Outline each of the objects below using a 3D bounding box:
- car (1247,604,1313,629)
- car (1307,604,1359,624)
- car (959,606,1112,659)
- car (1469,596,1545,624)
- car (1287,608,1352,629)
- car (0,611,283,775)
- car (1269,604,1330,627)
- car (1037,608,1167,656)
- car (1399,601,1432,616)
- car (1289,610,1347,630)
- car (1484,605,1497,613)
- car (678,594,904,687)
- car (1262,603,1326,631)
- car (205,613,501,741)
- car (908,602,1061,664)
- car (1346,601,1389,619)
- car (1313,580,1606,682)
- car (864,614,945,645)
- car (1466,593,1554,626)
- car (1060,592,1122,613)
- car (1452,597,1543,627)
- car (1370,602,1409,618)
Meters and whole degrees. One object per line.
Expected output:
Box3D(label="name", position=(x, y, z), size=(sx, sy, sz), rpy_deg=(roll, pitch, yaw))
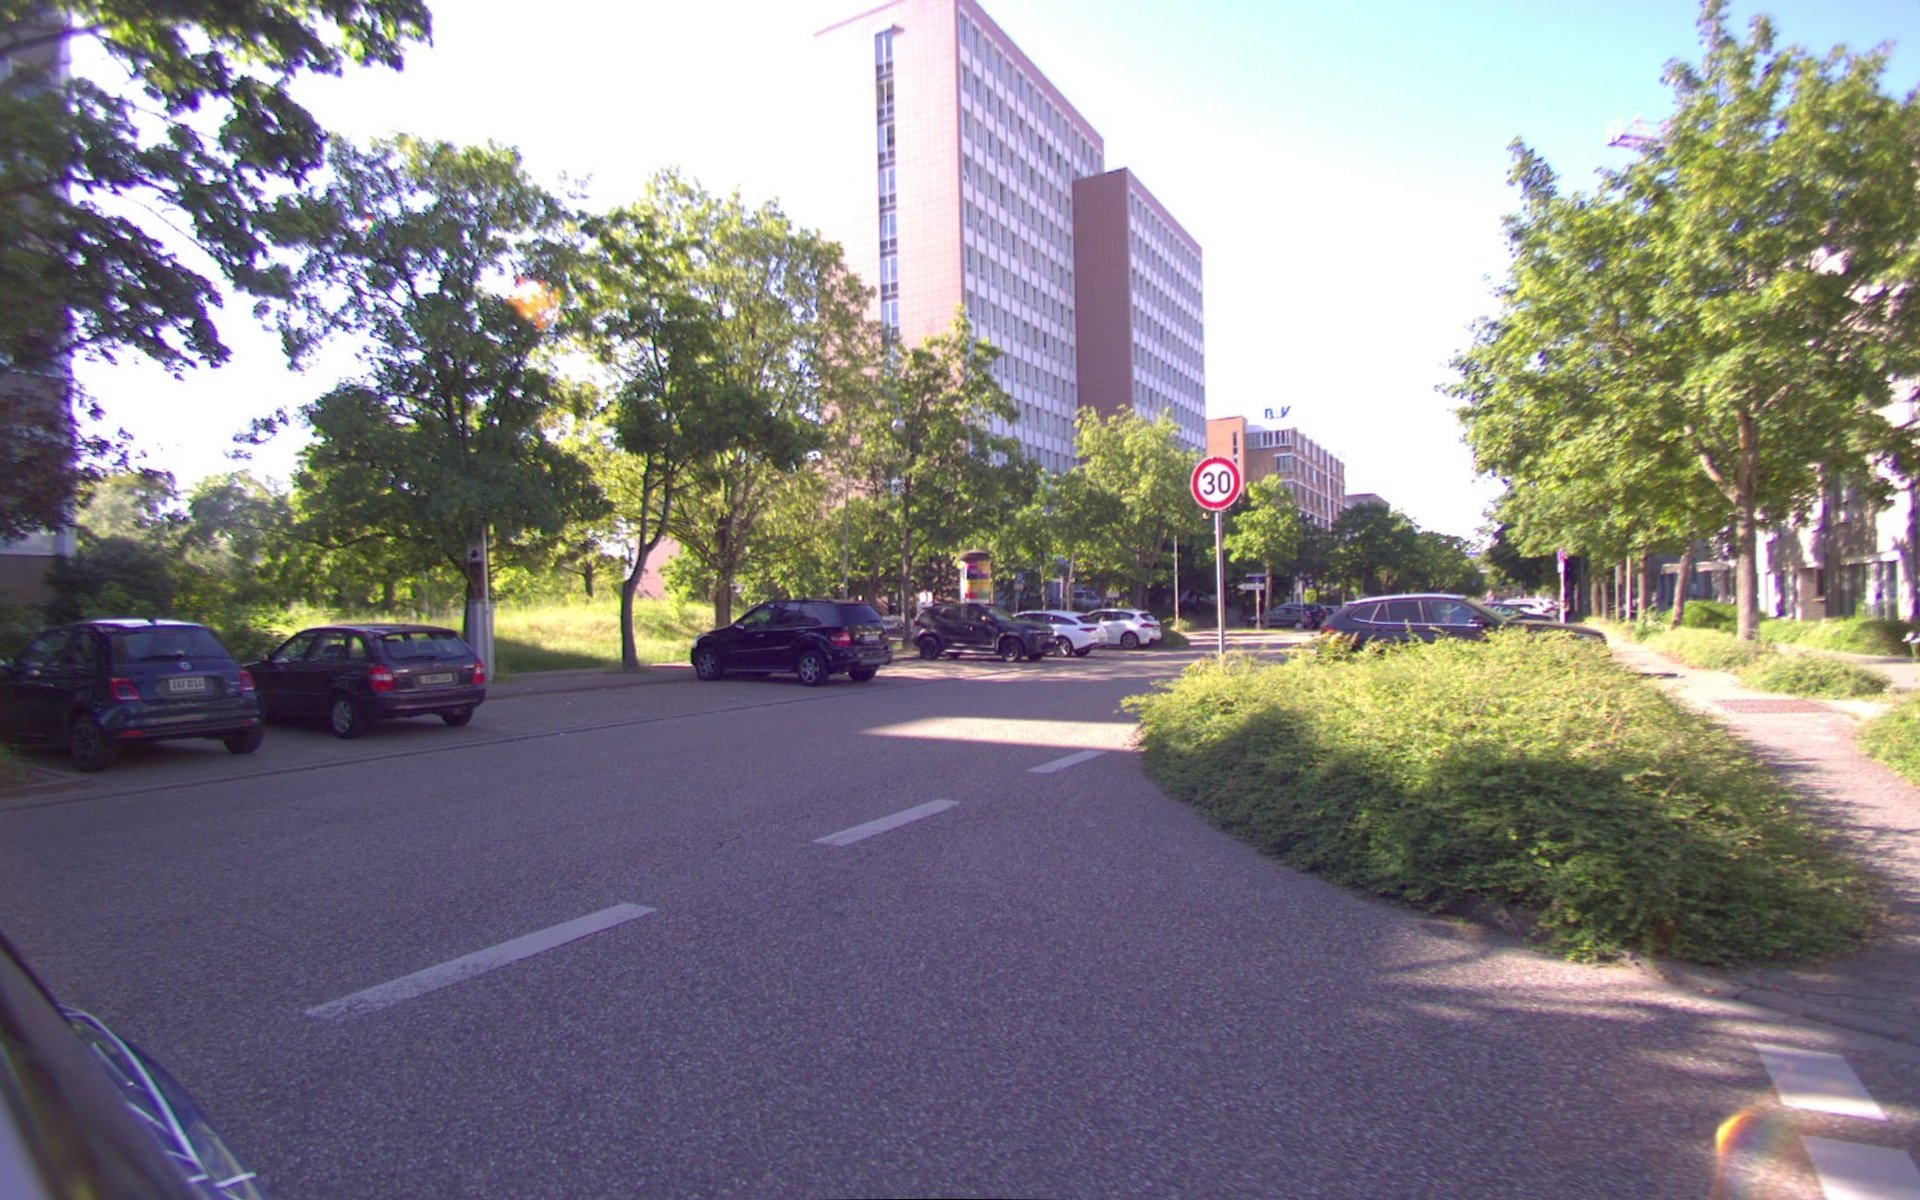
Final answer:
Box3D(label="car", position=(20.393, 1.029, 64.533), size=(3.829, 1.457, 1.577), rpy_deg=(2, -1, 28))
Box3D(label="car", position=(29.321, 1.060, 79.552), size=(3.569, 1.518, 1.707), rpy_deg=(0, 0, 29))
Box3D(label="car", position=(2.352, 1.029, 31.799), size=(4.435, 1.557, 1.800), rpy_deg=(-2, -1, 28))
Box3D(label="car", position=(34.993, 0.655, 64.746), size=(4.112, 1.632, 1.784), rpy_deg=(-3, -2, 32))
Box3D(label="car", position=(27.374, 1.416, 77.081), size=(4.416, 1.565, 1.841), rpy_deg=(-1, -1, 29))
Box3D(label="car", position=(-9.619, 0.922, 11.432), size=(3.802, 1.510, 1.685), rpy_deg=(1, 0, 28))
Box3D(label="car", position=(23.553, 1.052, 70.253), size=(3.862, 1.577, 1.794), rpy_deg=(0, 0, 26))
Box3D(label="car", position=(5.201, 1.120, 37.218), size=(4.420, 1.605, 1.819), rpy_deg=(1, 0, 28))
Box3D(label="car", position=(61.147, 1.148, 135.886), size=(3.978, 1.797, 1.936), rpy_deg=(-3, -1, 26))
Box3D(label="car", position=(26.224, 1.456, 74.152), size=(3.673, 1.431, 1.705), rpy_deg=(0, 0, 33))
Box3D(label="car", position=(103.525, 1.771, 197.380), size=(1.947, 1.639, 3.956), rpy_deg=(-1, -1, 33))
Box3D(label="car", position=(-3.638, 0.773, 21.584), size=(4.585, 1.792, 1.979), rpy_deg=(0, 0, 31))
Box3D(label="car", position=(21.973, 1.095, 66.590), size=(3.673, 1.764, 1.705), rpy_deg=(0, 0, 33))
Box3D(label="car", position=(-8.339, 0.943, 13.844), size=(3.985, 1.397, 1.803), rpy_deg=(1, 1, 31))
Box3D(label="car", position=(0.689, 0.907, 29.200), size=(4.113, 1.630, 1.717), rpy_deg=(0, 1, 29))
Box3D(label="car", position=(35.093, 0.854, 87.240), size=(3.198, 1.490, 1.570), rpy_deg=(-1, 0, 34))
Box3D(label="car", position=(8.315, 0.550, 17.030), size=(4.191, 1.531, 1.753), rpy_deg=(-3, -1, 31))
Box3D(label="car", position=(-2.972, 1.572, 53.855), size=(3.983, 1.542, 1.817), rpy_deg=(-2, -1, 29))
Box3D(label="car", position=(31.125, 0.548, 57.271), size=(4.223, 1.614, 1.932), rpy_deg=(-4, -1, 31))
Box3D(label="car", position=(10.757, 0.224, 82.925), size=(4.707, 1.699, 1.859), rpy_deg=(-1, -1, 27))
Box3D(label="car", position=(29.130, 0.658, 54.901), size=(4.254, 1.491, 1.782), rpy_deg=(-2, -1, 30))
Box3D(label="car", position=(51.250, 1.171, 120.773), size=(4.148, 1.719, 1.981), rpy_deg=(-3, -1, 28))
